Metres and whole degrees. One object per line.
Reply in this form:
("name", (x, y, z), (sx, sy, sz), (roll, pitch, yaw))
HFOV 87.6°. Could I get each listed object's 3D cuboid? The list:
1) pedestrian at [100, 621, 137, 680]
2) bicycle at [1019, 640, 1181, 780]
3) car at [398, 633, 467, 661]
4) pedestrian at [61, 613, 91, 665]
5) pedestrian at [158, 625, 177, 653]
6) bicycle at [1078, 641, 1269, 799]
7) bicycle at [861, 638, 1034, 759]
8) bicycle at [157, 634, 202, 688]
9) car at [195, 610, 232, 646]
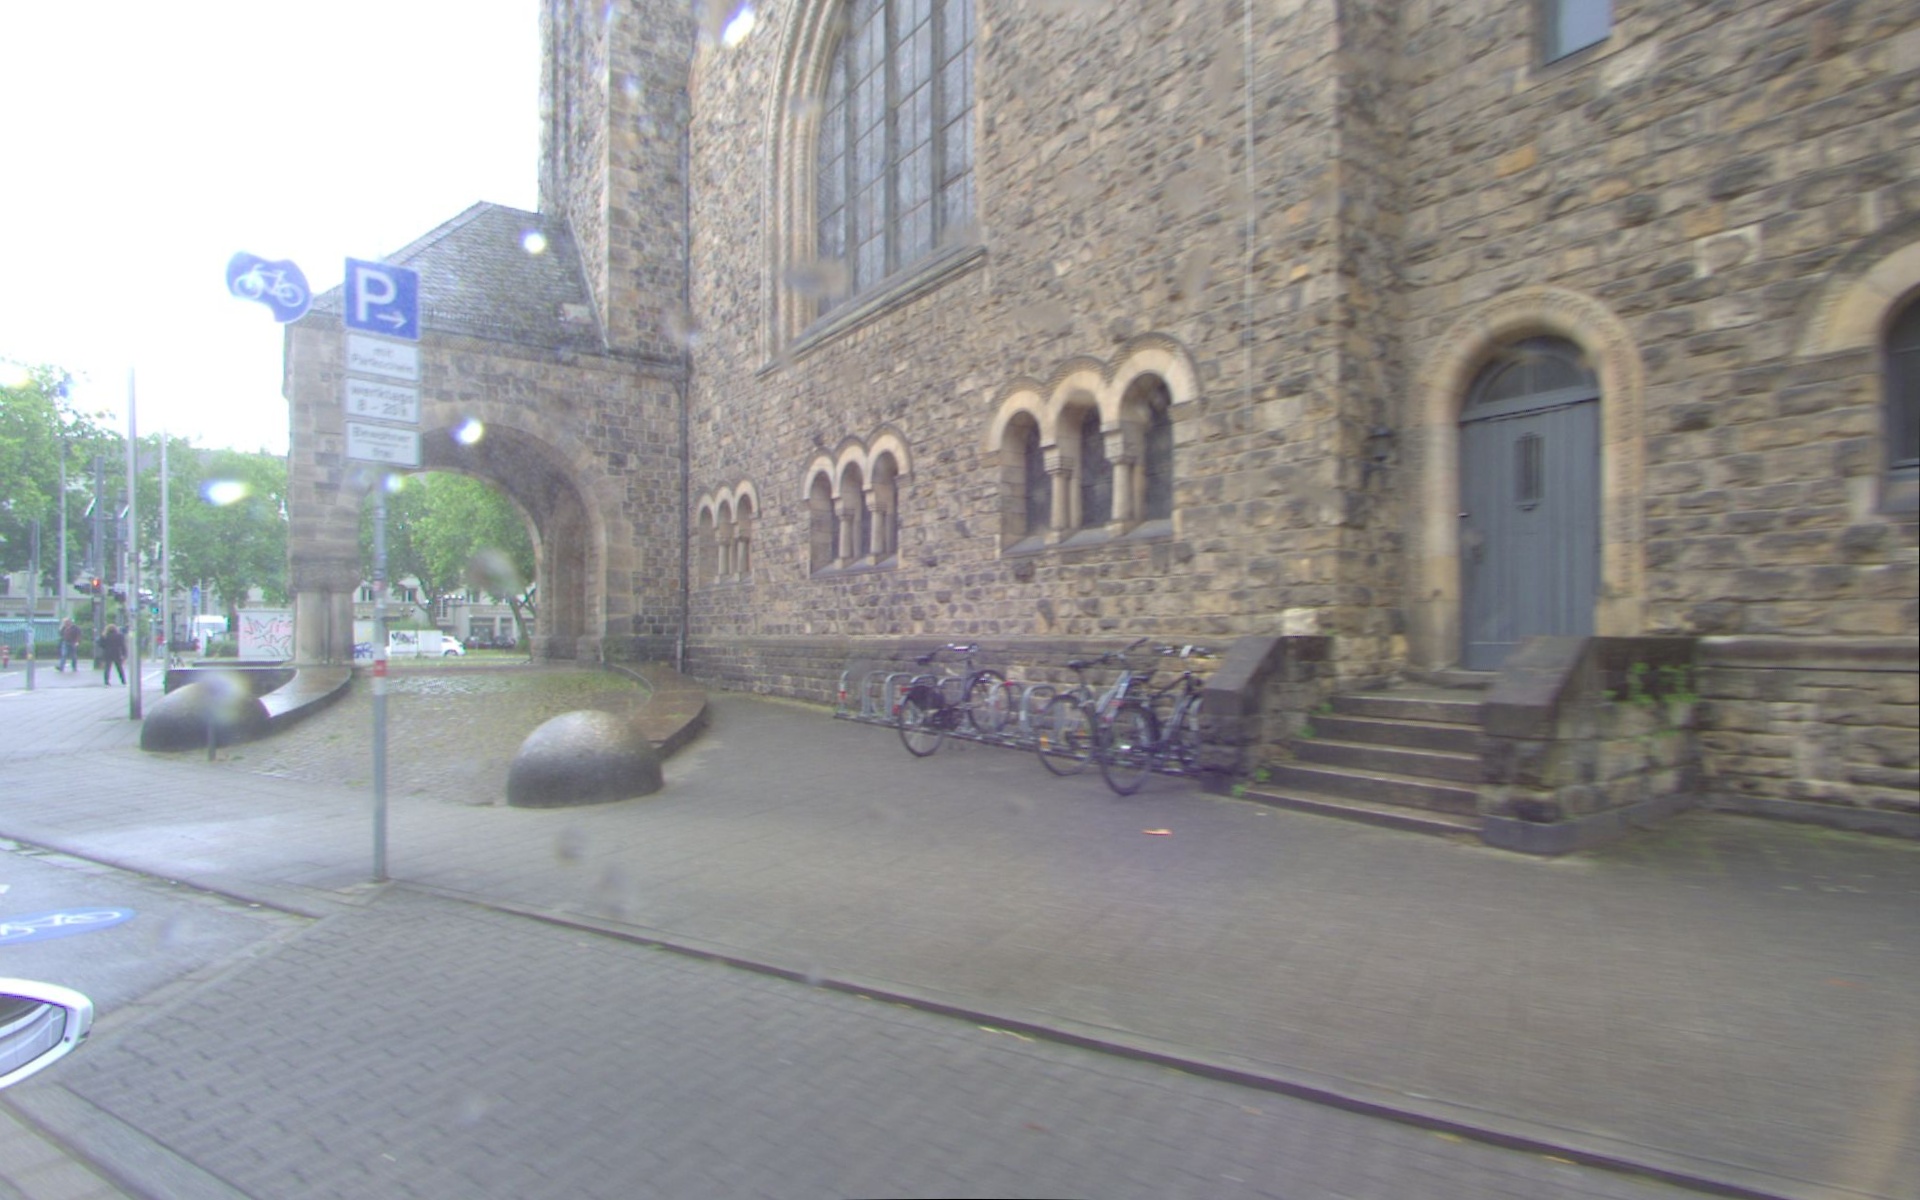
("pedestrian", (-24.549, 1.459, 29.225), (0.775, 1.667, 0.650), (0, 0, -36))
("bicycle", (1.335, 0.967, 9.332), (1.697, 1.126, 0.556), (-1, 0, -44))
("car", (-30.122, 2.661, 57.167), (3.401, 1.572, 1.584), (1, -1, -32))
("pedestrian", (-30.957, 1.368, 35.061), (0.780, 1.782, 0.936), (0, -1, -43))
("pedestrian", (-44.542, 2.197, 56.288), (0.666, 1.573, 0.758), (1, -3, -30))
("bicycle", (1.796, 0.912, 8.182), (1.971, 1.068, 0.507), (-1, 0, -44))
("bicycle", (-0.093, 1.008, 10.815), (0.684, 1.119, 1.973), (-1, 0, 43))
("bicycle", (-17.942, 1.381, 23.007), (2.049, 1.169, 0.327), (-1, -1, 38))
("car", (-54.857, 2.053, 73.637), (1.888, 2.588, 4.757), (1, -2, -34))
